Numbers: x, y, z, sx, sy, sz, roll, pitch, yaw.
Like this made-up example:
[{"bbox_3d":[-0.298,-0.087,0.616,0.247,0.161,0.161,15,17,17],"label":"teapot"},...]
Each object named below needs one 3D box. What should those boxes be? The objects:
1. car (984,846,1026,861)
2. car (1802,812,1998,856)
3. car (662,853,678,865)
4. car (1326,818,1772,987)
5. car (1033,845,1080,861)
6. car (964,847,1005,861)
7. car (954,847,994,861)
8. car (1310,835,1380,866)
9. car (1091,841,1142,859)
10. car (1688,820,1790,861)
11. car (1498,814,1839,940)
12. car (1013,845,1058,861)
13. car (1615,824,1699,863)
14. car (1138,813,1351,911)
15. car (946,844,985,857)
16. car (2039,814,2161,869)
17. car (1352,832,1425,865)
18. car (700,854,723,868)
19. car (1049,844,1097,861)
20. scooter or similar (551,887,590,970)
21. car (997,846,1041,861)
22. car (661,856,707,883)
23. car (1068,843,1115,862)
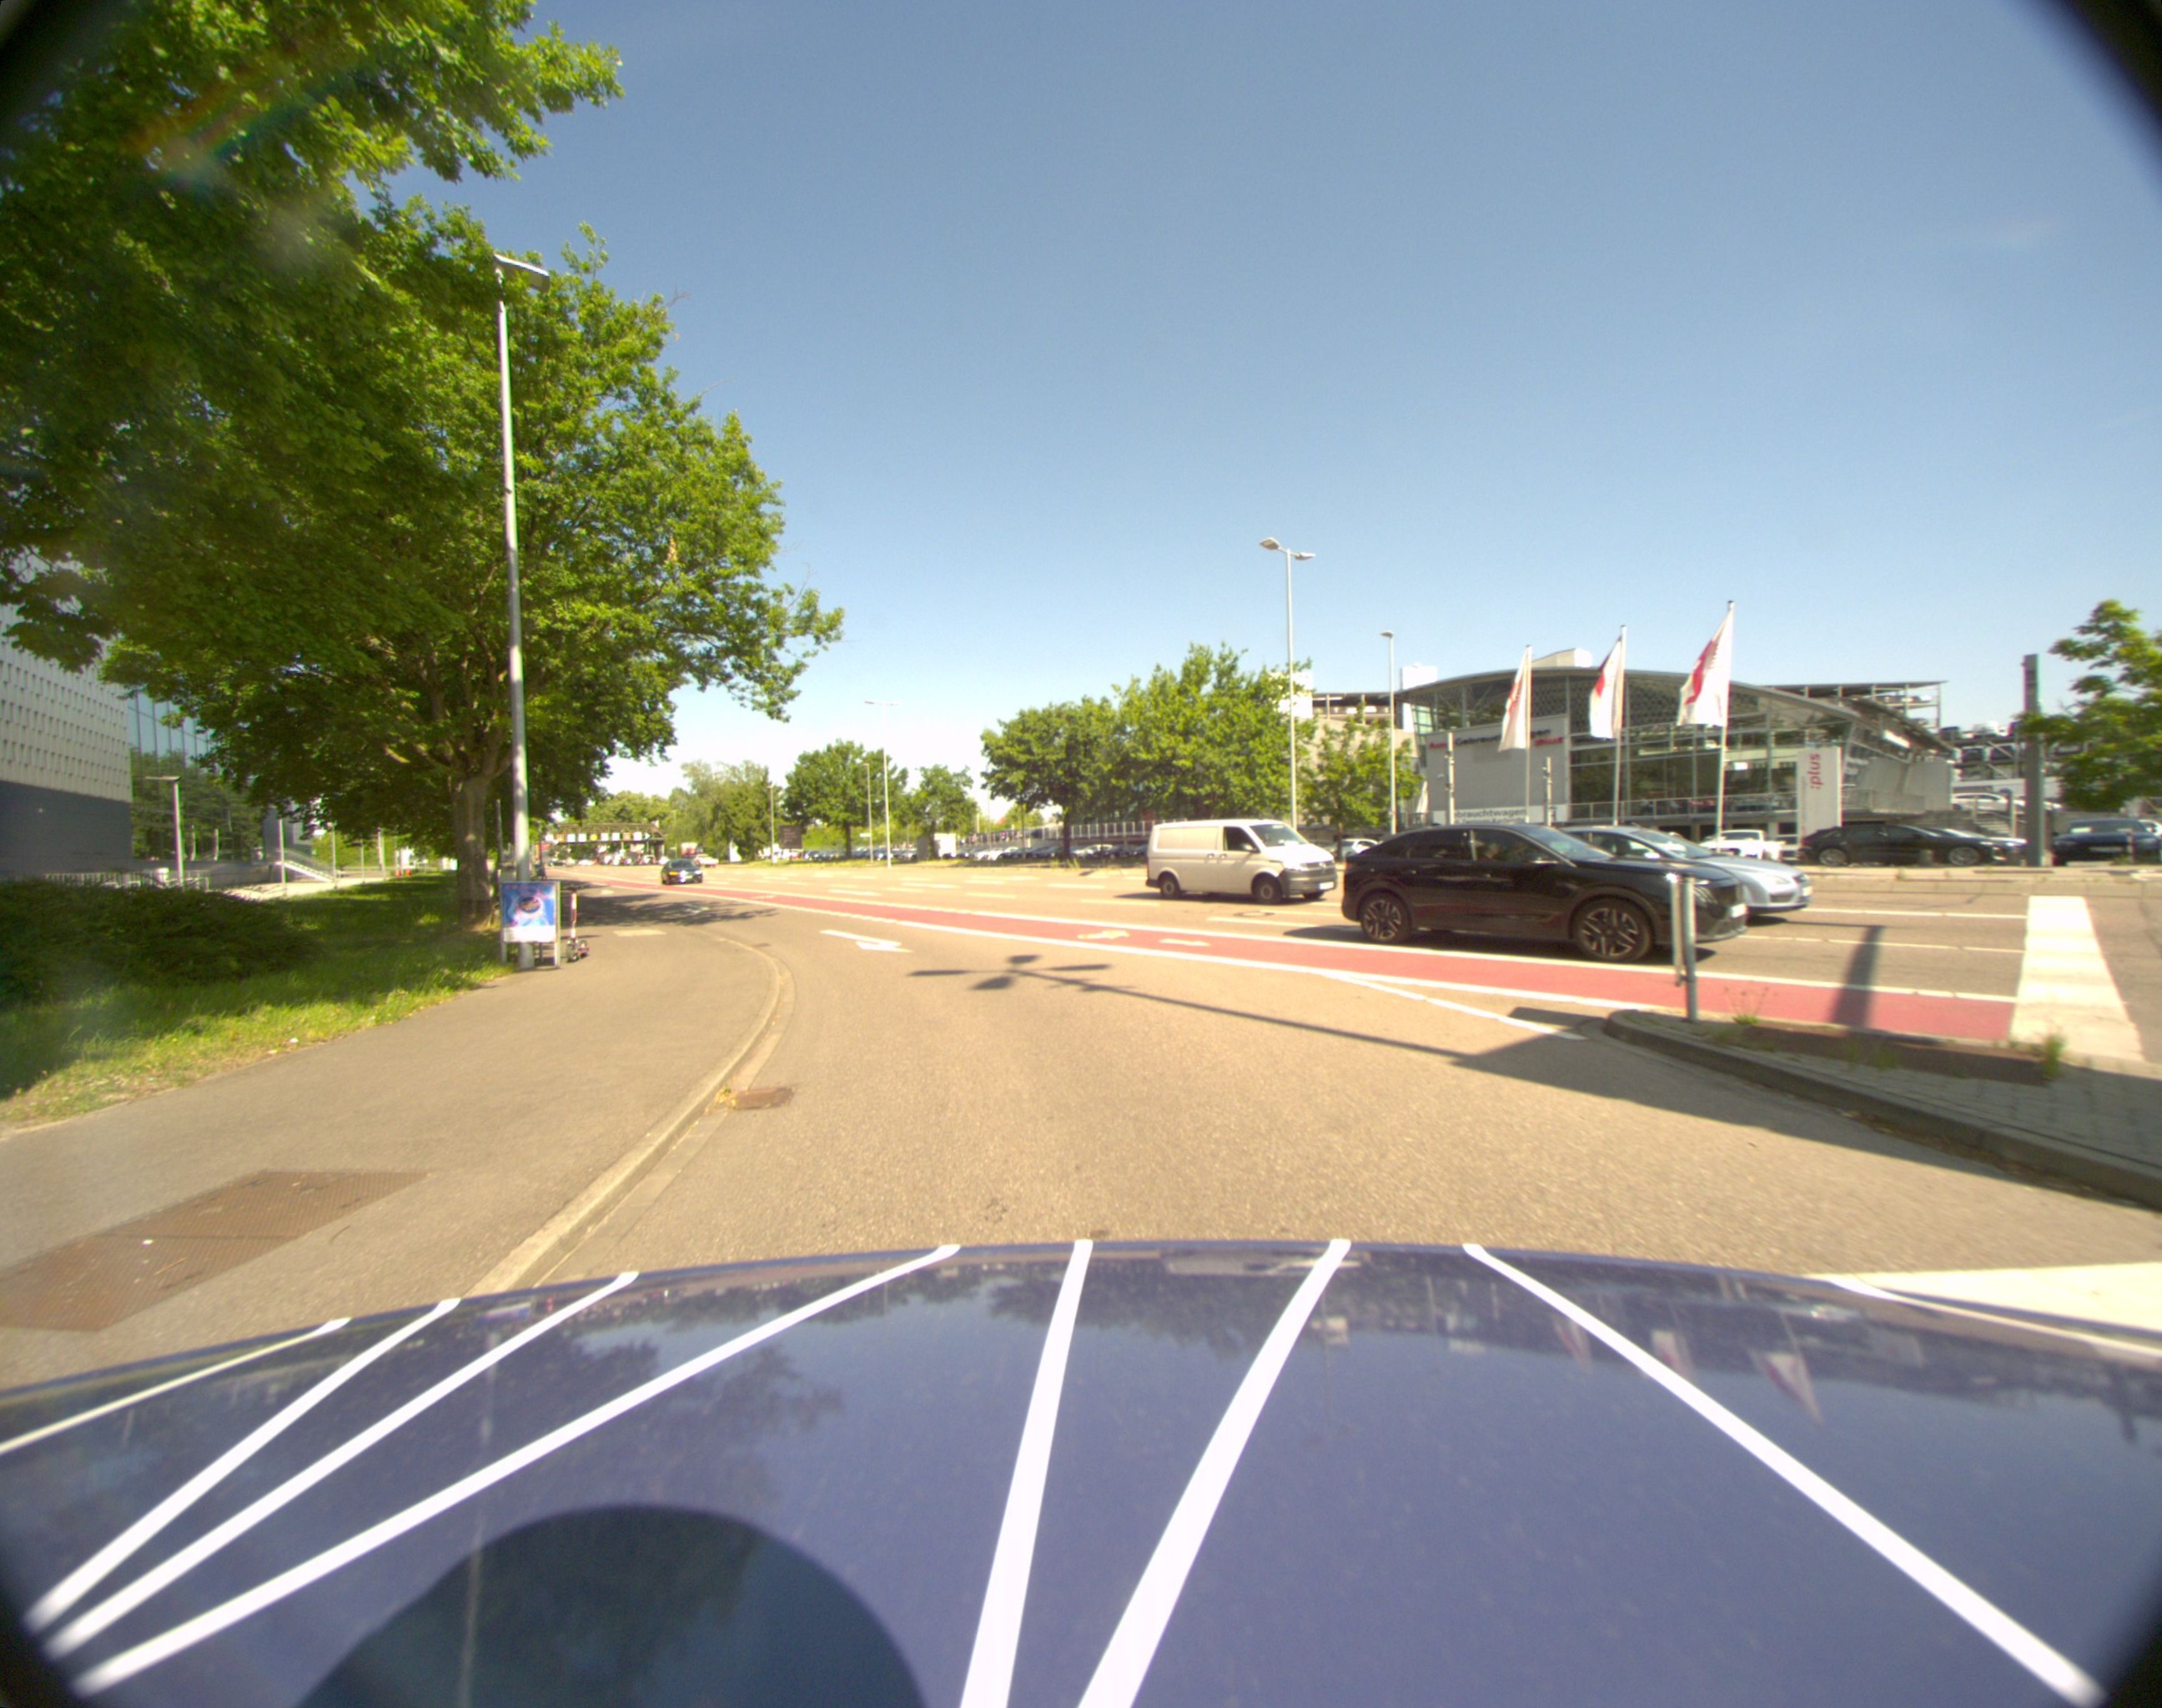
[{"bbox_3d":[-6.845,-0.043,68.624,3.422,1.242,1.591,-2,1,-33],"label":"car"},{"bbox_3d":[27.339,-0.629,25.494,1.825,1.342,4.339,-2,1,-38],"label":"car"},{"bbox_3d":[-72.349,0.956,133.797,2.003,2.002,3.990,-3,2,-34],"label":"car"},{"bbox_3d":[5.635,0.506,9.728,1.718,1.618,4.492,-4,1,-38],"label":"car"},{"bbox_3d":[-1.996,-0.072,62.013,3.422,1.242,1.591,-2,1,-32],"label":"car"},{"bbox_3d":[-8.971,0.000,70.772,3.422,1.242,1.591,-2,1,-33],"label":"car"},{"bbox_3d":[-10.292,0.022,72.812,3.422,1.242,1.591,-2,1,-33],"label":"car"},{"bbox_3d":[14.176,-0.219,40.736,3.895,1.564,1.782,-2,1,-39],"label":"car"},{"bbox_3d":[2.653,-0.288,56.311,3.422,1.242,1.591,-2,1,-33],"label":"car"},{"bbox_3d":[24.363,-0.502,28.099,4.121,1.414,2.000,-2,1,-37],"label":"car"},{"bbox_3d":[8.929,0.285,11.888,1.762,1.603,3.822,-3,1,-31],"label":"car"},{"bbox_3d":[-3.869,-0.094,64.348,3.422,1.242,1.591,-2,1,-33],"label":"car"},{"bbox_3d":[23.021,-0.421,30.340,3.895,1.462,1.782,-2,1,-39],"label":"car"},{"bbox_3d":[3.727,0.148,18.250,1.744,1.996,4.986,-4,2,-38],"label":"car"},{"bbox_3d":[-11.312,-0.334,74.394,3.422,1.242,1.591,-2,1,-33],"label":"car"},{"bbox_3d":[29.356,-0.372,21.709,4.006,1.452,1.995,-2,1,-32],"label":"car"},{"bbox_3d":[15.653,-0.285,38.610,3.895,1.564,1.782,-2,1,-39],"label":"car"},{"bbox_3d":[-50.079,0.933,102.924,2.172,1.665,4.502,-3,1,-32],"label":"car"},{"bbox_3d":[-0.624,-0.154,60.353,3.422,1.242,1.591,-2,1,-33],"label":"car"},{"bbox_3d":[-8.099,1.145,12.090,0.256,1.175,1.388,-2,1,-25],"label":"scooter or similar"},{"bbox_3d":[-5.432,-0.067,66.517,3.422,1.242,1.591,-2,1,-33],"label":"car"},{"bbox_3d":[-23.718,0.868,45.316,1.775,1.456,4.227,-4,2,-36],"label":"car"},{"bbox_3d":[0.821,-0.118,58.304,3.176,1.317,1.637,-2,1,-33],"label":"car"}]
